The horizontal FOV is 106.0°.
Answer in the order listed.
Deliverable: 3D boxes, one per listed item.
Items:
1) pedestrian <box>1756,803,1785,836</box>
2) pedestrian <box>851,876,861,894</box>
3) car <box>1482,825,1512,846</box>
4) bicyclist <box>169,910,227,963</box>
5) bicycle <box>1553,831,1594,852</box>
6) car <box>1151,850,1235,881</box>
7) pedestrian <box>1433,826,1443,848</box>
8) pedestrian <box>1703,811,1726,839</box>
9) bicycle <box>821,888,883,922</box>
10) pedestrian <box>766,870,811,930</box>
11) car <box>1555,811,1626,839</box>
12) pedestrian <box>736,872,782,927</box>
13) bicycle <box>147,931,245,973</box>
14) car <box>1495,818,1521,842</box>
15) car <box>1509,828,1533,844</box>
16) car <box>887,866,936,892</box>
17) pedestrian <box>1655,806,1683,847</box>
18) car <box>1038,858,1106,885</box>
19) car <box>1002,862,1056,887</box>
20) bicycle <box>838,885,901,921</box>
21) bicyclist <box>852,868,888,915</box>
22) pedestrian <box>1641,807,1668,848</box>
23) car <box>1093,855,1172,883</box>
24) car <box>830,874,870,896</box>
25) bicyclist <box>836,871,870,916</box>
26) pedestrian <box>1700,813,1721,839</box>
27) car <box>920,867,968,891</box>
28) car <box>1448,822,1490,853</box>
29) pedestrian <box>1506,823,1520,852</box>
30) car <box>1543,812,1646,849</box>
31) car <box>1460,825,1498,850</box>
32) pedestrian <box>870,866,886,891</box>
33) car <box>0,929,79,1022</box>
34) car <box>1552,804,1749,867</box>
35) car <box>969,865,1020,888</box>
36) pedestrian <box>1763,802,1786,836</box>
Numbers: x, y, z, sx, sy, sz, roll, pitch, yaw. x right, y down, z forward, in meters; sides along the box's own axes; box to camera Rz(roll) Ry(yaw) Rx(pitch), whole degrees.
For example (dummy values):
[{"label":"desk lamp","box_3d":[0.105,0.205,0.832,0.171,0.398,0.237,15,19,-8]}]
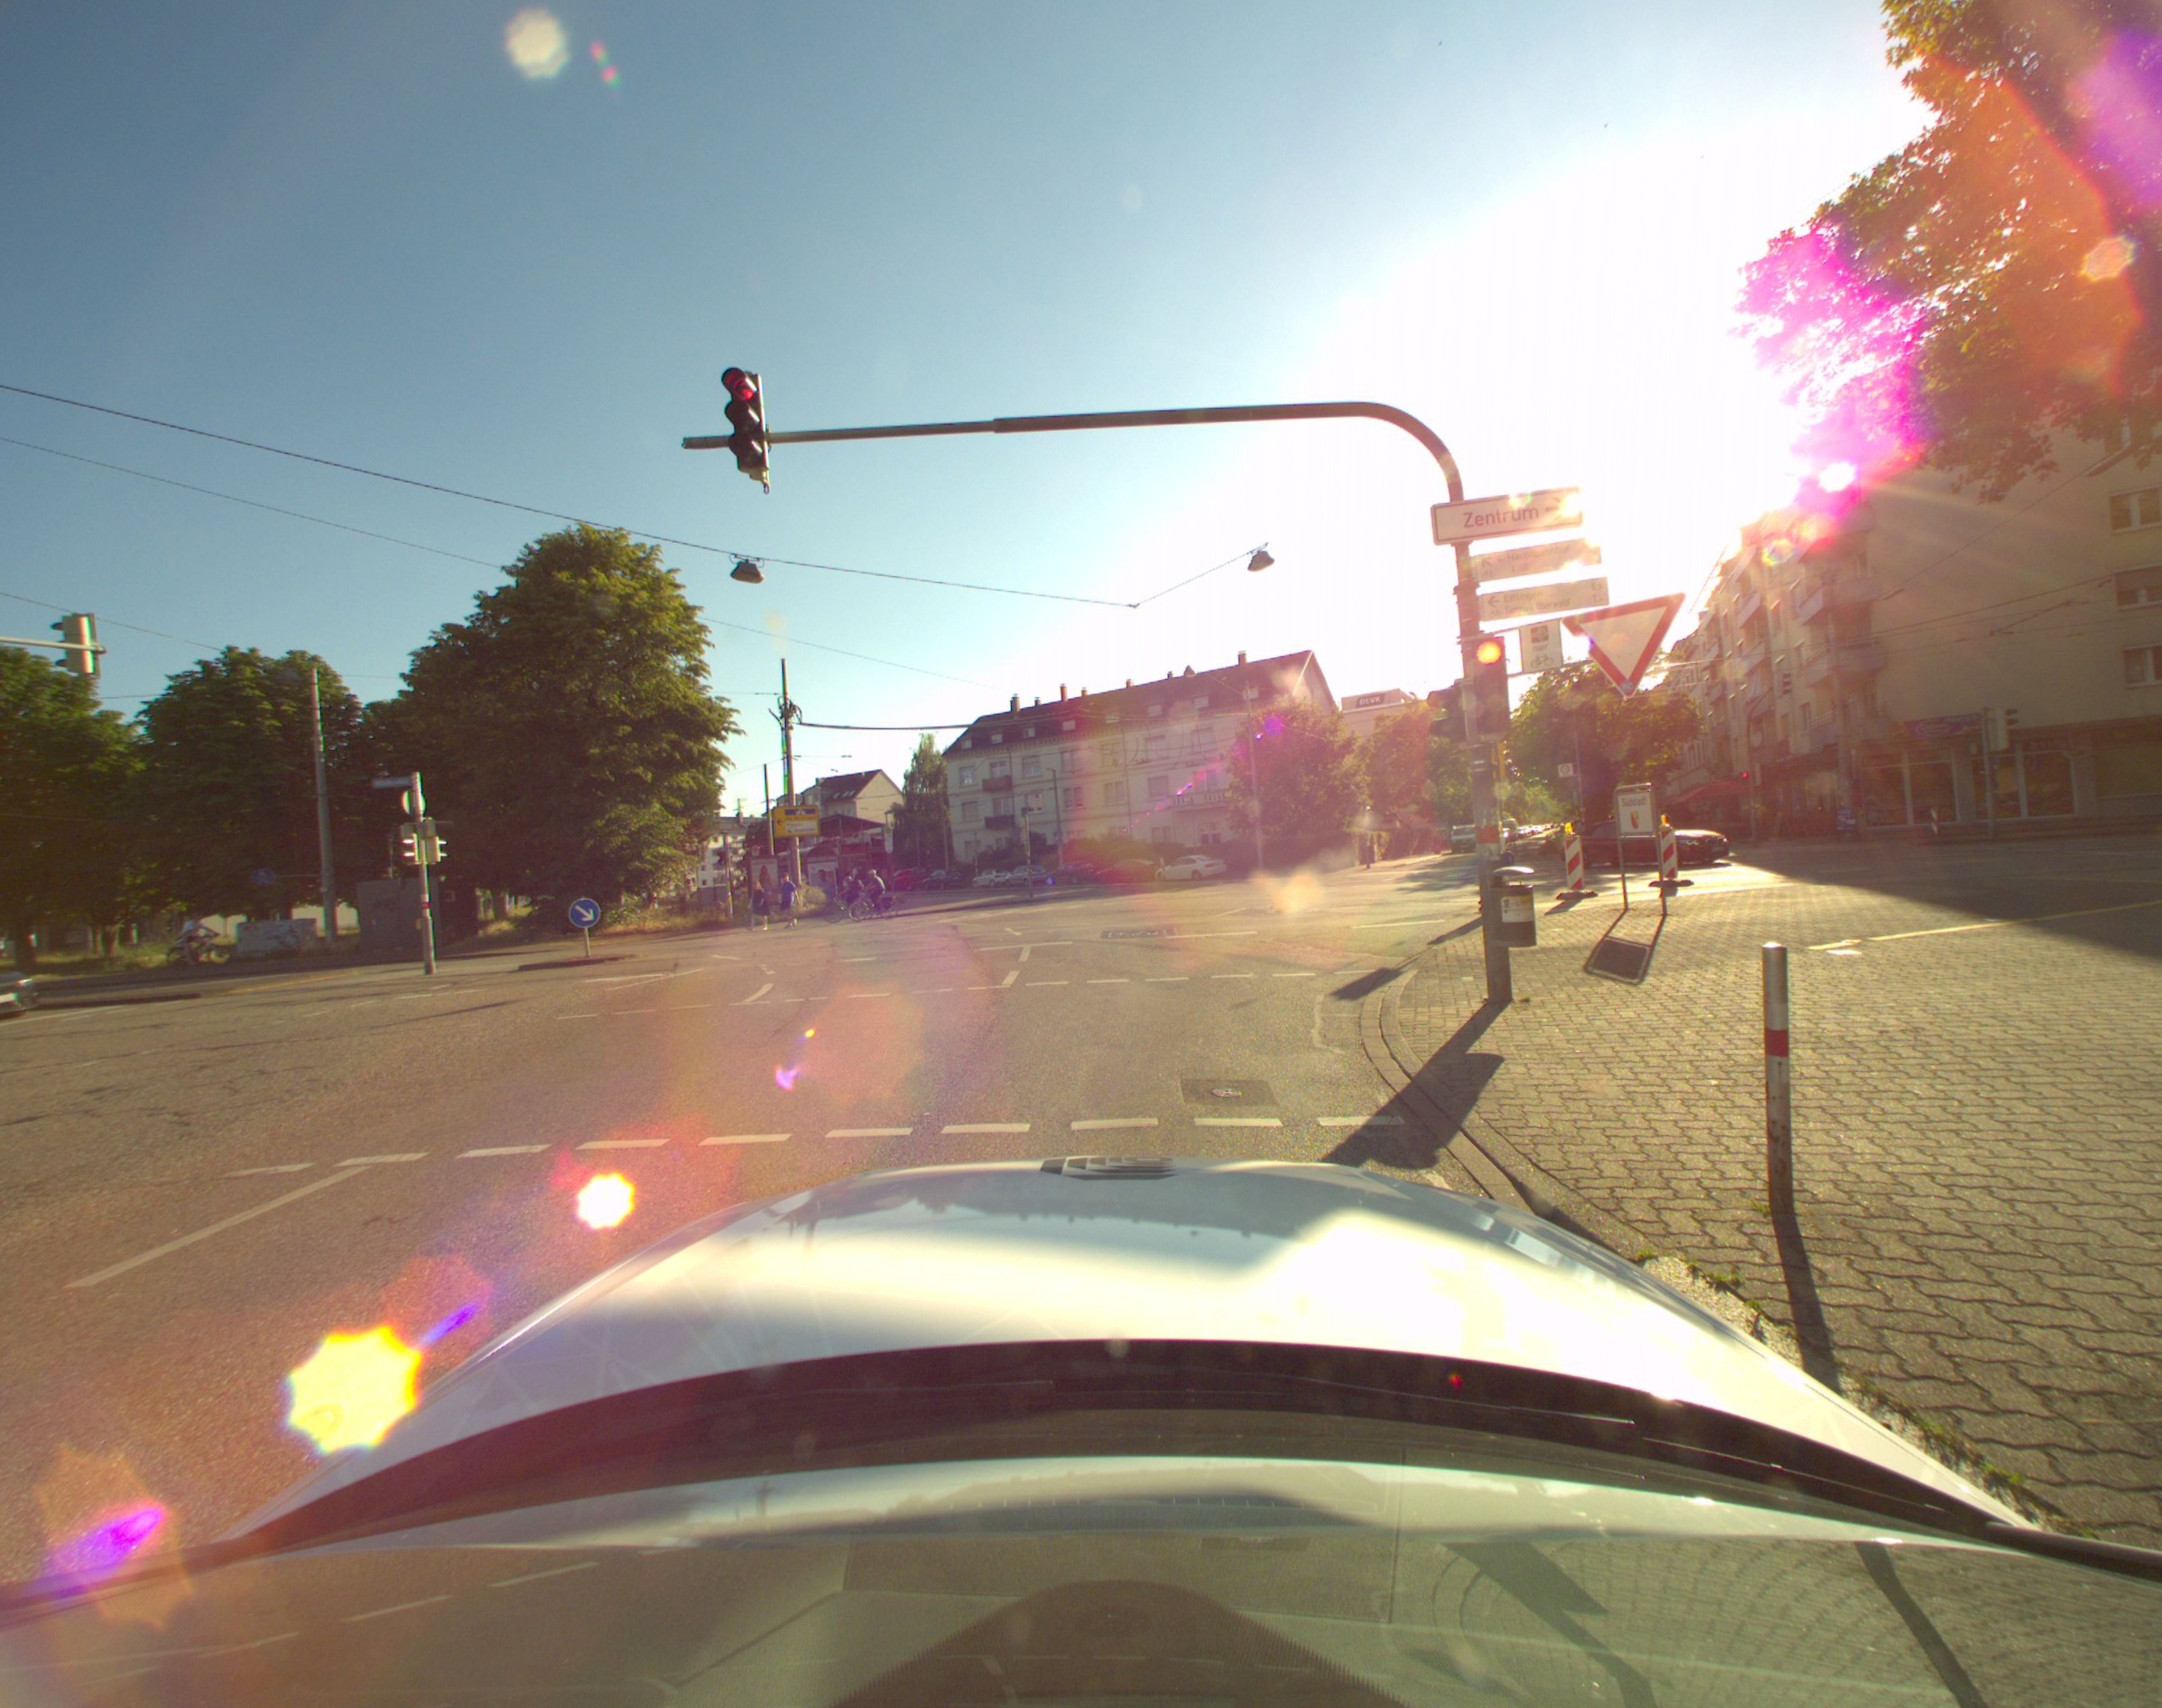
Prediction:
[{"label":"pedestrian","box_3d":[34.119,-1.717,40.313,0.804,1.544,0.919,-5,-1,25]},{"label":"pedestrian","box_3d":[-18.501,2.552,67.080,0.569,1.500,0.672,-4,-1,-27]},{"label":"car","box_3d":[39.712,-1.788,77.669,2.332,1.795,5.343,-5,-1,28]},{"label":"bicyclist","box_3d":[-29.667,2.758,27.374,1.038,1.629,0.711,-4,-1,-9]},{"label":"bicycle","box_3d":[24.916,-0.637,41.197,1.707,0.932,0.676,-5,-1,31]},{"label":"car","box_3d":[6.267,0.676,46.124,1.941,1.376,4.443,-7,1,-40]},{"label":"pedestrian","box_3d":[27.855,-1.335,63.511,0.573,1.730,0.612,-4,-1,26]},{"label":"pedestrian","box_3d":[33.372,-1.526,42.907,0.803,1.362,0.920,-5,-1,36]},{"label":"bicycle","box_3d":[-8.329,1.847,29.685,2.013,1.069,0.661,-4,-1,-11]},{"label":"pedestrian","box_3d":[-10.019,1.558,27.944,0.907,1.925,1.070,-4,-1,8]},{"label":"car","box_3d":[44.678,-2.506,71.618,5.042,1.924,2.377,-5,-2,28]},{"label":"pedestrian","box_3d":[-10.829,1.517,27.399,0.907,1.747,1.070,-4,-1,8]},{"label":"bicycle","box_3d":[-29.679,3.262,27.332,2.194,1.142,0.698,-4,-1,-10]},{"label":"car","box_3d":[47.942,-2.692,91.344,2.332,2.514,5.343,-5,-1,28]},{"label":"car","box_3d":[56.642,-2.347,104.844,2.332,1.795,5.344,-5,-1,32]},{"label":"car","box_3d":[-15.208,2.235,72.761,2.067,1.961,5.091,-7,1,-39]},{"label":"pedestrian","box_3d":[25.832,-1.207,35.763,0.799,1.750,0.685,-4,-1,-38]},{"label":"car","box_3d":[-0.673,1.199,54.795,1.998,1.447,4.650,-7,1,-39]},{"label":"car","box_3d":[-3.748,1.460,58.114,1.998,1.447,3.676,-7,1,-39]},{"label":"bicycle","box_3d":[-7.403,1.723,28.589,2.010,1.069,0.662,-4,-1,-6]},{"label":"bicyclist","box_3d":[-7.400,1.310,28.586,1.033,1.532,0.696,-4,-1,-7]},{"label":"pedestrian","box_3d":[25.970,-1.206,36.877,0.799,1.750,0.710,-4,-1,-38]},{"label":"car","box_3d":[3.120,0.945,50.194,1.999,1.376,4.647,-7,1,-44]},{"label":"car","box_3d":[-23.849,3.197,83.945,2.067,1.961,5.091,-7,1,-39]},{"label":"bicyclist","box_3d":[-8.302,1.424,29.664,1.034,1.532,0.658,-4,-1,-10]},{"label":"pedestrian","box_3d":[34.051,-1.522,44.062,0.803,1.362,0.920,-5,-1,36]},{"label":"car","box_3d":[-11.411,2.077,67.627,1.855,1.667,4.319,-7,1,-39]},{"label":"car","box_3d":[28.384,-1.229,59.444,2.332,2.013,5.343,-5,-1,28]},{"label":"pedestrian","box_3d":[27.783,-1.074,52.403,0.655,1.839,0.687,-4,-1,30]},{"label":"car","box_3d":[34.249,-1.540,54.545,5.567,1.924,2.377,-5,-2,28]},{"label":"car","box_3d":[31.688,-1.332,64.750,2.332,1.795,5.343,-5,-1,28]},{"label":"pedestrian","box_3d":[-16.454,1.983,66.053,0.928,2.013,0.760,-4,-1,-34]},{"label":"car","box_3d":[-21.396,2.368,14.629,4.415,1.567,2.057,-4,0,5]},{"label":"car","box_3d":[16.356,-0.481,23.690,1.900,1.564,4.362,-2,-1,-20]},{"label":"car","box_3d":[-6.591,1.731,61.675,1.855,1.447,3.912,-7,1,-39]},{"label":"pedestrian","box_3d":[33.824,-1.703,39.726,0.612,1.591,0.480,-4,-1,15]}]
